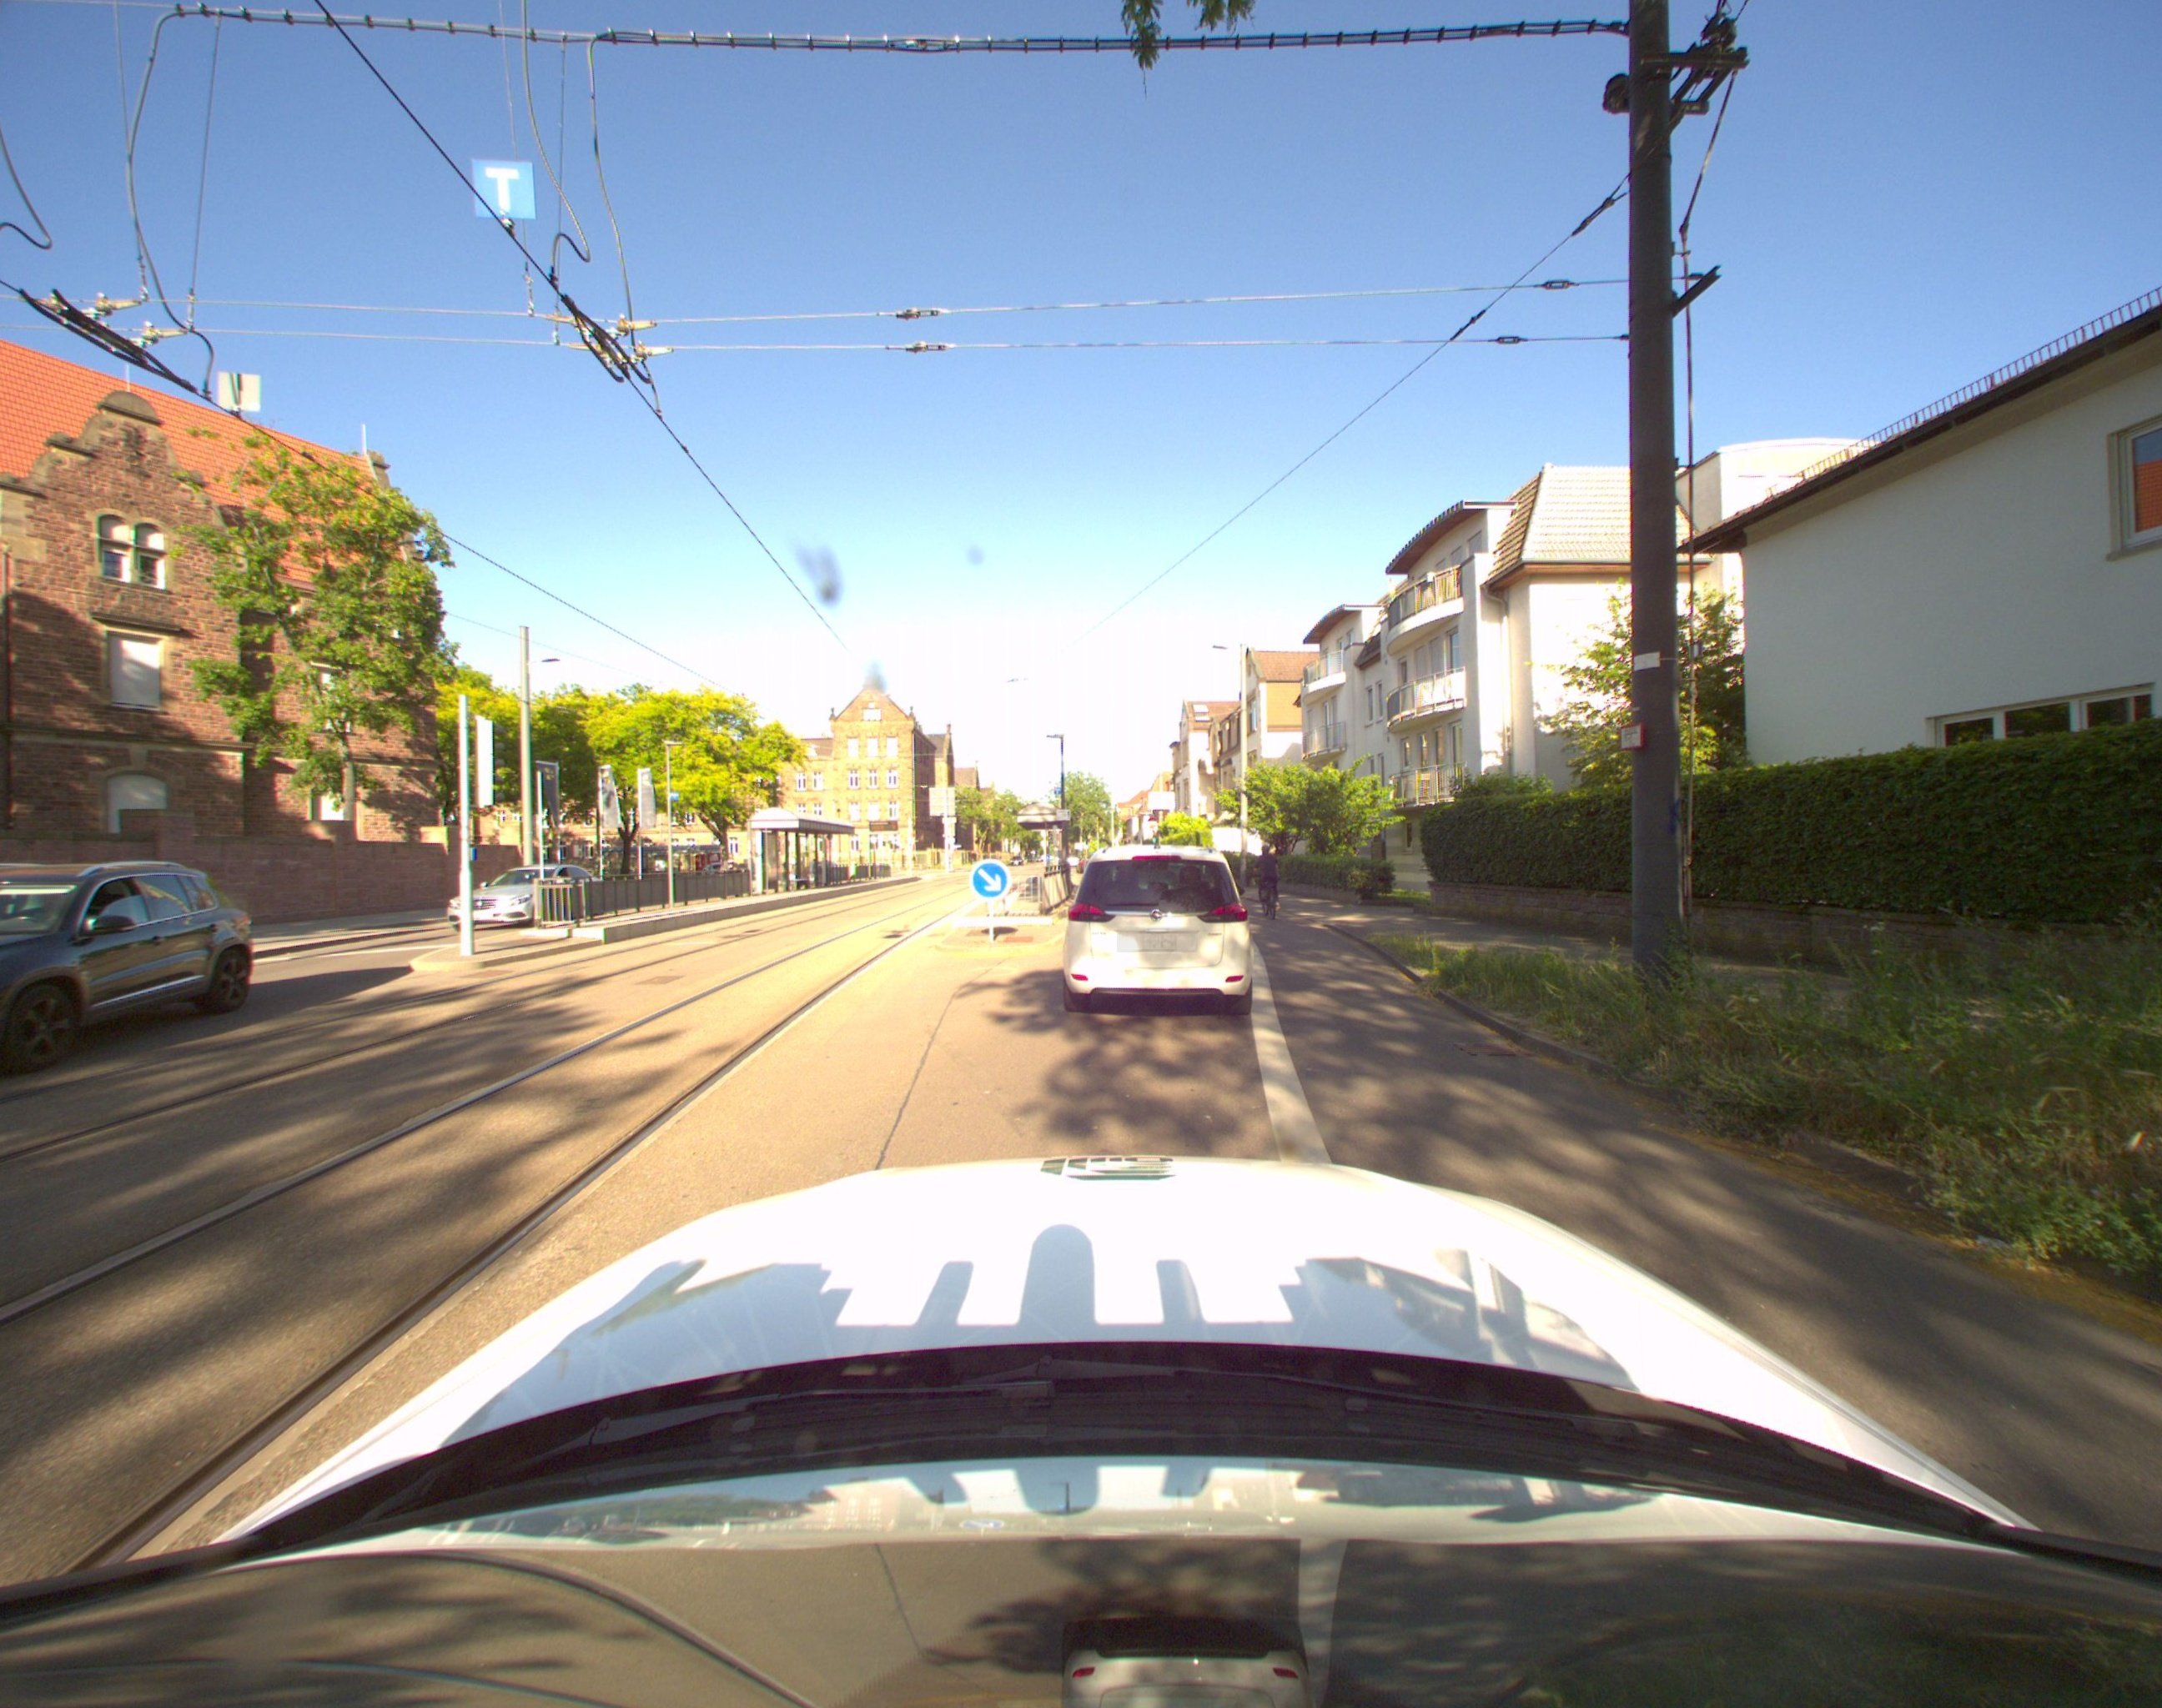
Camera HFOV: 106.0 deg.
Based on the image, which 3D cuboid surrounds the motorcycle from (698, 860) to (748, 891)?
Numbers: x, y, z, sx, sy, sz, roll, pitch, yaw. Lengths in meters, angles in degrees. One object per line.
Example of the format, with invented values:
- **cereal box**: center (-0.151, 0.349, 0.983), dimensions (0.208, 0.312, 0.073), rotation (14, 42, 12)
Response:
- **motorcycle**: center (-14.946, 0.889, 34.109), dimensions (1.128, 1.243, 2.568), rotation (-1, 0, -5)

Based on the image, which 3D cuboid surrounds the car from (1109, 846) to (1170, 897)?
- **car**: center (1.974, 0.594, 28.542), dimensions (1.771, 1.632, 3.878), rotation (-1, 0, -2)

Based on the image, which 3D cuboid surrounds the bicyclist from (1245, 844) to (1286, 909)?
- **bicyclist**: center (4.347, 0.524, 19.240), dimensions (0.817, 1.501, 0.936), rotation (-1, -1, 6)

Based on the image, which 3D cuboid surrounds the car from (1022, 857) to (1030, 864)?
- **car**: center (-14.048, 1.743, 208.098), dimensions (1.902, 1.677, 3.996), rotation (-1, 0, -3)

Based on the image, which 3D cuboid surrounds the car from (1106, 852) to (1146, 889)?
- **car**: center (2.078, 0.760, 38.440), dimensions (1.769, 1.632, 3.882), rotation (-1, 0, 2)

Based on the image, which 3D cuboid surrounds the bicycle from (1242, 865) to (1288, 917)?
- **bicycle**: center (4.351, 0.846, 19.406), dimensions (0.825, 1.154, 2.098), rotation (-1, -1, 6)

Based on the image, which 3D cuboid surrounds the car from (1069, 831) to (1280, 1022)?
- **car**: center (0.787, 0.641, 9.079), dimensions (1.830, 1.642, 3.916), rotation (-1, 0, -1)

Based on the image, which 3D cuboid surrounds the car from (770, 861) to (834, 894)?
- **car**: center (-14.762, 1.300, 43.337), dimensions (1.849, 1.403, 3.982), rotation (-7, -4, 0)

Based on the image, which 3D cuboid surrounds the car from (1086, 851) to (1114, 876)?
- **car**: center (1.263, 0.642, 55.246), dimensions (1.770, 1.632, 3.880), rotation (-1, 0, 0)

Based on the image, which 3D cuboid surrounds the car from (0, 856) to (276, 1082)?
- **car**: center (-9.376, 0.885, 7.183), dimensions (1.804, 1.637, 4.087), rotation (-2, 0, -23)

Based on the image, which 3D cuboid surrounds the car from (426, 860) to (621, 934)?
- **car**: center (-13.514, 0.956, 20.153), dimensions (1.880, 1.415, 4.617), rotation (-1, 2, -5)

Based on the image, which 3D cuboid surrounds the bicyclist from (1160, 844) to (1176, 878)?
- **bicyclist**: center (4.278, 0.339, 40.187), dimensions (0.683, 1.634, 1.015), rotation (-1, -1, 0)

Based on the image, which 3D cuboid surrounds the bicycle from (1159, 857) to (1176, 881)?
- **bicycle**: center (4.284, 0.715, 40.220), dimensions (0.683, 1.157, 1.619), rotation (-1, -1, 1)

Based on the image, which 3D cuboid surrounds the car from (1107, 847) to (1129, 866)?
- **car**: center (3.328, 0.259, 73.840), dimensions (1.770, 1.632, 3.880), rotation (-1, 0, 0)

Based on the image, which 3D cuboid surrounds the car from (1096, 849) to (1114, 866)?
- **car**: center (2.409, 0.337, 82.946), dimensions (1.770, 1.632, 3.880), rotation (-1, 0, 0)

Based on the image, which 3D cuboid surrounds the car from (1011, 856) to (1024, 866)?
- **car**: center (-10.319, 1.118, 131.872), dimensions (1.901, 1.677, 4.355), rotation (-1, 0, -2)

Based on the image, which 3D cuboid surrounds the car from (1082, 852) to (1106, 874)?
- **car**: center (1.029, 0.713, 64.501), dimensions (1.770, 1.632, 3.881), rotation (-1, 0, 1)

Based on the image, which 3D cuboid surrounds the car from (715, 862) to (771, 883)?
- **car**: center (-27.732, 1.474, 66.849), dimensions (3.846, 1.660, 1.750), rotation (-1, -1, 0)

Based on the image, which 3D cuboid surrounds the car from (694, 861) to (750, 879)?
- **car**: center (-31.742, 1.391, 72.104), dimensions (4.051, 1.522, 1.877), rotation (-1, -1, 0)

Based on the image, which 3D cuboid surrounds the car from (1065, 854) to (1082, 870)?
- **car**: center (-0.770, 0.820, 86.977), dimensions (1.770, 1.692, 3.880), rotation (-1, 0, 0)

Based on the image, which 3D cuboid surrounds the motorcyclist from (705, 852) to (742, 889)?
- **motorcyclist**: center (-14.949, 0.693, 34.115), dimensions (1.123, 1.525, 1.053), rotation (-1, -1, -6)
